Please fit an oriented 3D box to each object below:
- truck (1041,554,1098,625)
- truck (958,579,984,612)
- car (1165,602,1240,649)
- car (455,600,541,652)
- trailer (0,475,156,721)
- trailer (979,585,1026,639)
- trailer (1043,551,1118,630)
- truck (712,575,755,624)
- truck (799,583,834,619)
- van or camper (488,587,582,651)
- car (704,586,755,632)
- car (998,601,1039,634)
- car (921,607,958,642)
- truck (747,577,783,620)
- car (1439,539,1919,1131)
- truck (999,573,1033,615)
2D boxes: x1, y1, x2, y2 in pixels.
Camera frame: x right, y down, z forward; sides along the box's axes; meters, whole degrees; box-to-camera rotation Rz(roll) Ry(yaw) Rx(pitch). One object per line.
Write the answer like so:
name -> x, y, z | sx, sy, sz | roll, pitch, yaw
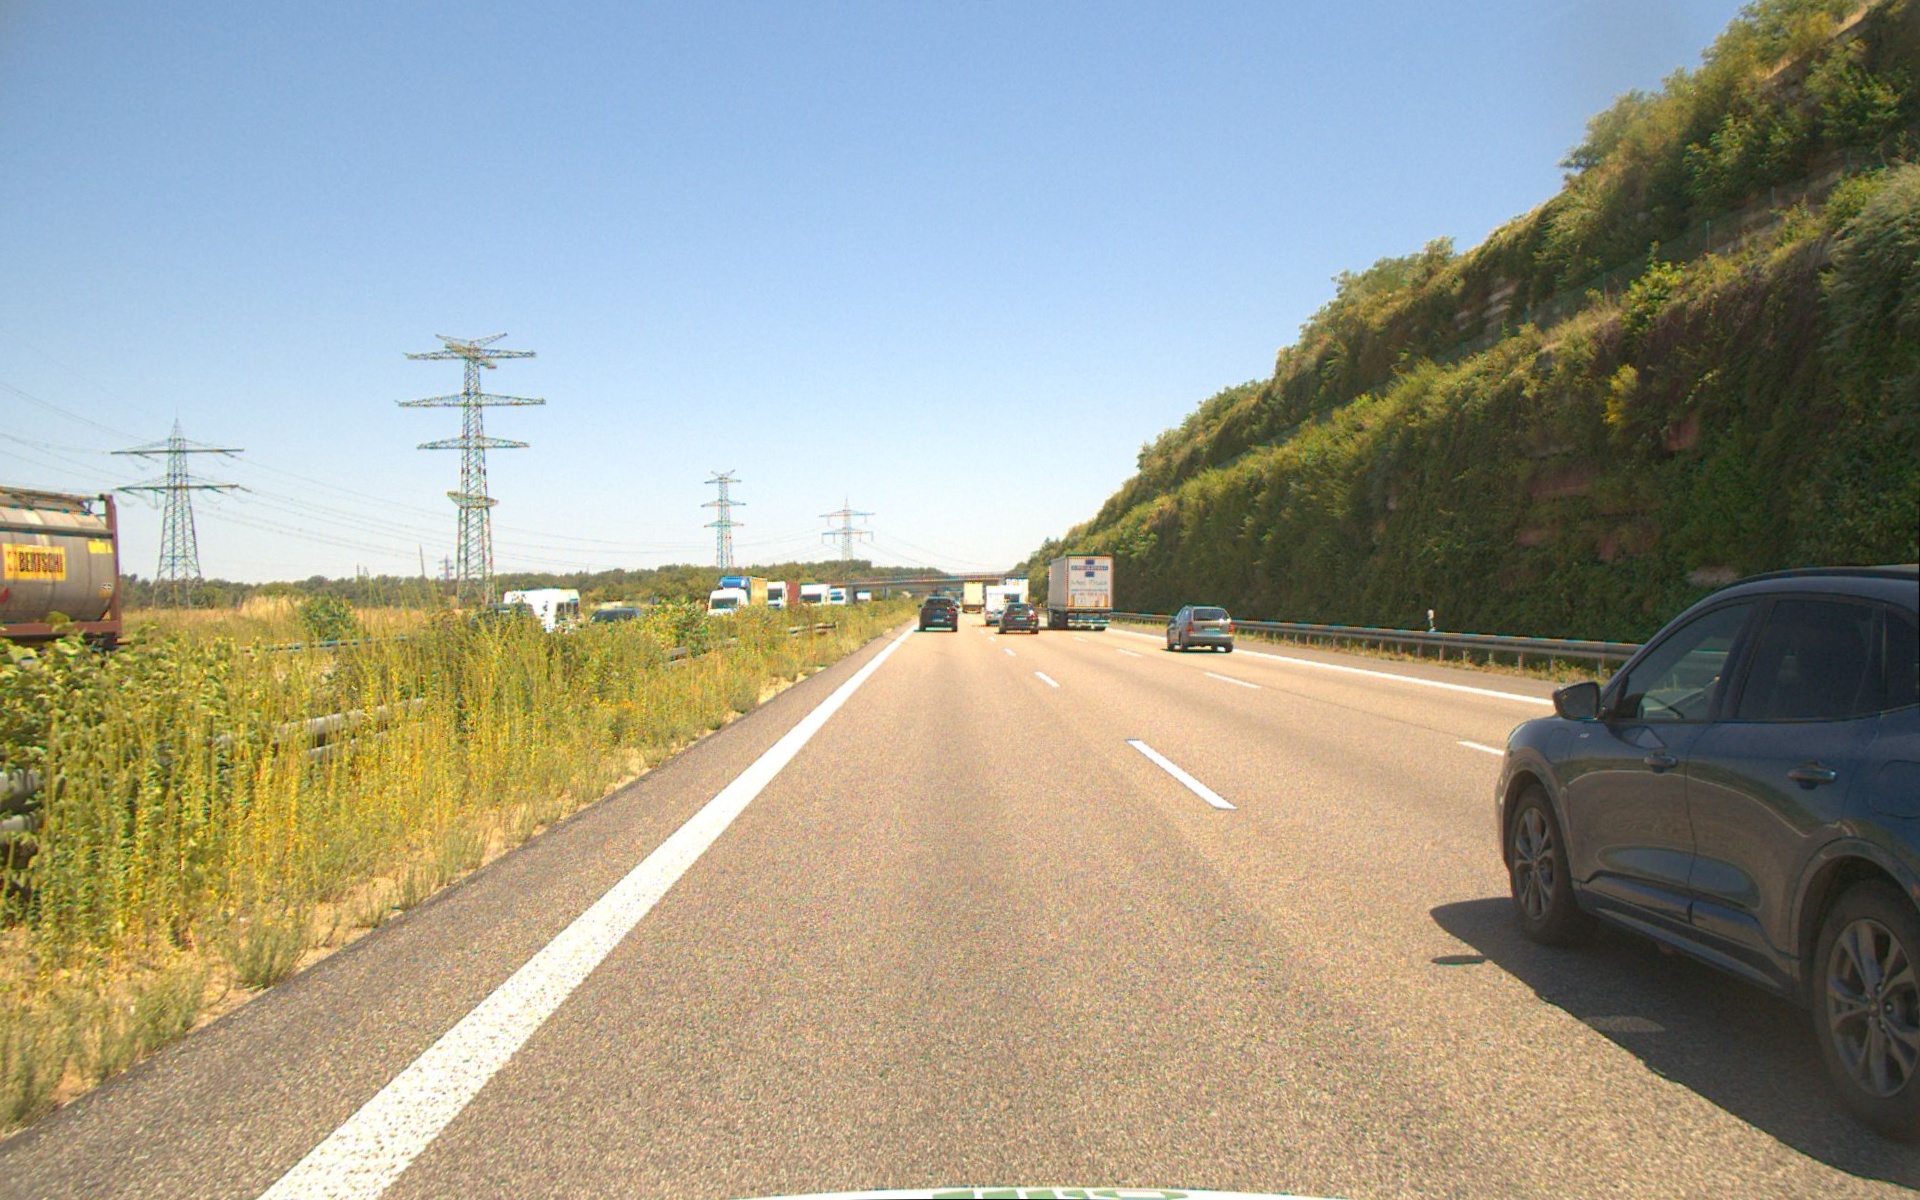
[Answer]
truck -> 6.753, -0.634, 102.992 | 3.072, 4.214, 5.502 | -1, 0, -1
truck -> 1.457, -0.567, 226.631 | 3.340, 4.355, 10.605 | -1, 0, -1
car -> 7.767, 0.798, 53.344 | 1.650, 1.453, 4.452 | 0, 0, -2
car -> -17.863, 0.954, 64.165 | 2.005, 1.887, 4.868 | -1, 0, -1
trailer -> -17.463, -0.008, 28.518 | 2.681, 4.116, 9.422 | -1, 0, -1
trailer -> 2.677, 0.739, 107.403 | 2.558, 3.269, 9.949 | -1, 0, -1
trailer -> 6.850, -0.534, 95.920 | 3.118, 4.193, 13.428 | -1, 0, -1
truck -> -18.867, -0.028, 137.997 | 2.805, 3.976, 5.619 | -1, 0, -1
truck -> -14.739, 0.112, 170.317 | 2.877, 3.473, 9.363 | -1, 0, -1
van or camper -> -18.087, 0.783, 70.717 | 2.394, 2.562, 6.482 | -1, 0, -1
car -> -14.340, 0.518, 103.191 | 2.062, 2.677, 7.466 | -3, 0, 0
car -> 2.825, 0.827, 80.215 | 1.792, 1.552, 4.000 | -1, 0, 0
car -> -1.060, 1.233, 84.158 | 1.793, 1.700, 3.999 | -1, 0, -1
truck -> -19.981, -0.165, 169.789 | 3.149, 4.231, 6.434 | -1, 0, -4
car -> 3.476, 0.664, 6.791 | 1.758, 1.682, 4.137 | 0, 0, -1
truck -> 5.890, -0.621, 176.865 | 3.055, 4.355, 11.931 | -1, 0, -1
